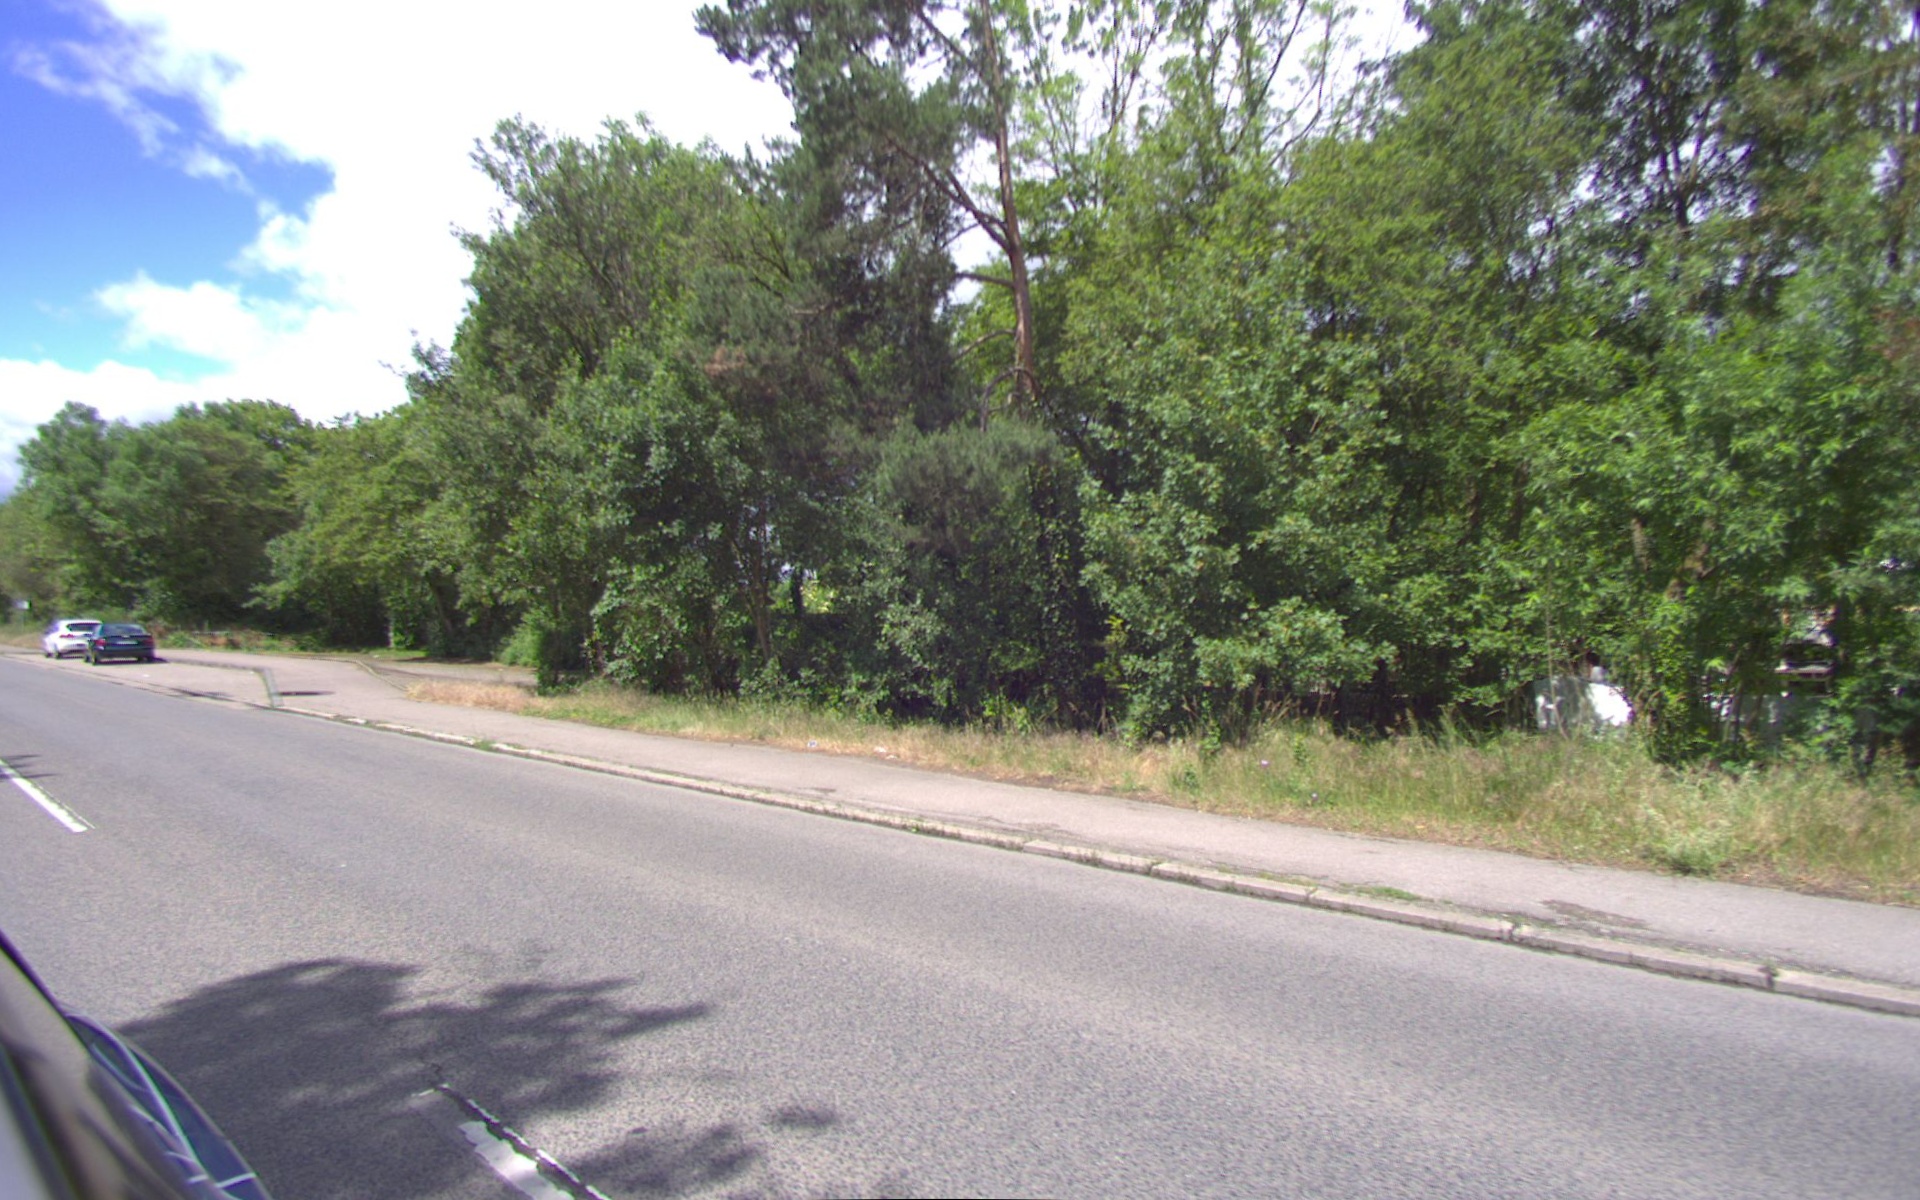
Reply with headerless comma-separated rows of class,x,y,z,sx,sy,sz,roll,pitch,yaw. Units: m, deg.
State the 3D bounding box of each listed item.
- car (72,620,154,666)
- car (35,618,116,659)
car,-29.451,1.450,35.160,4.266,1.418,1.748,-1,0,44
car,-35.131,1.487,40.163,4.242,1.481,1.750,-1,0,40
